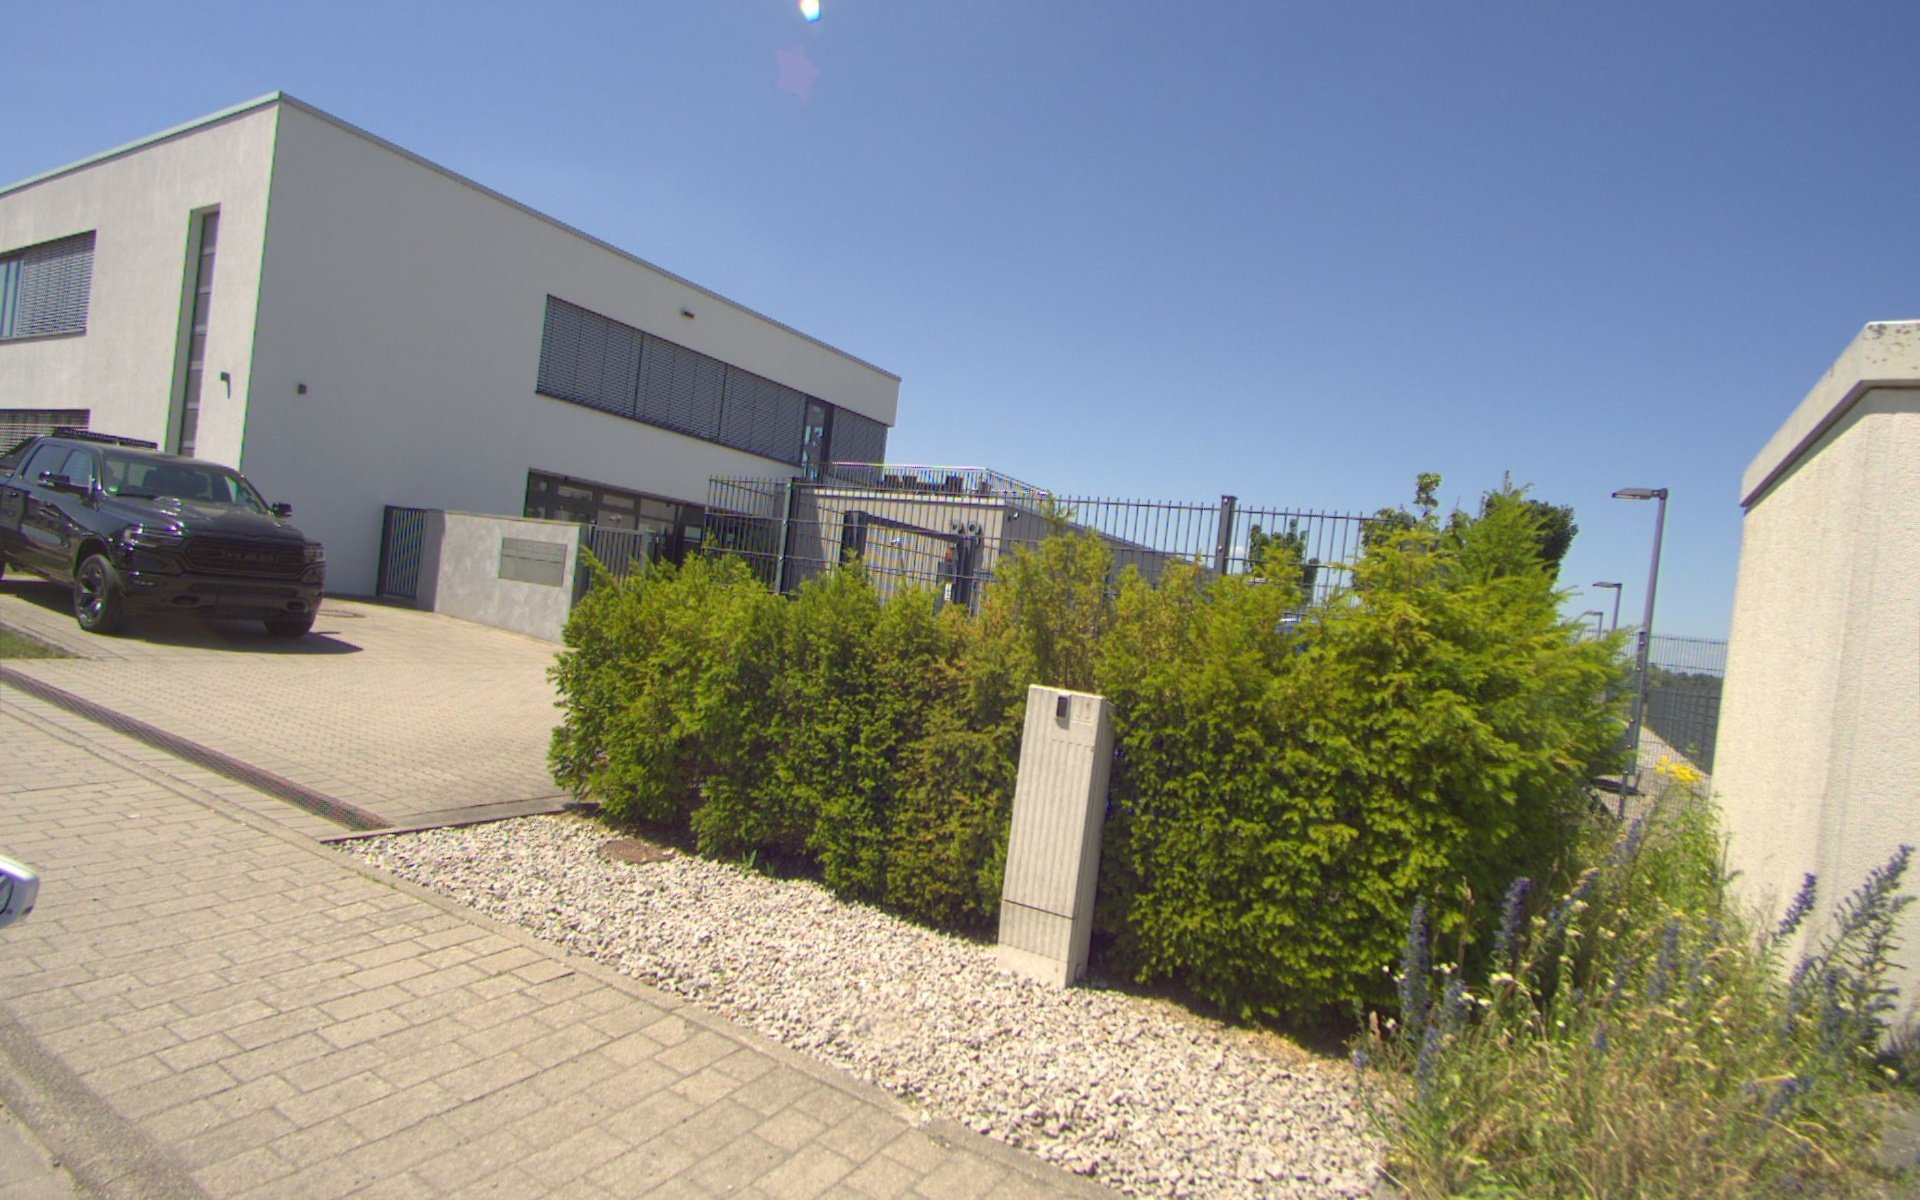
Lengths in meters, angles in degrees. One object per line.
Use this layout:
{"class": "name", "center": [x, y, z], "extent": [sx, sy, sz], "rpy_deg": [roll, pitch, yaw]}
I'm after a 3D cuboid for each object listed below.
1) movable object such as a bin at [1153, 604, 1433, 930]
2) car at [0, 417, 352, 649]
{"class": "movable object such as a bin", "center": [2.018, 0.890, 5.984], "extent": [1.150, 1.542, 1.384], "rpy_deg": [7, 1, 31]}
{"class": "car", "center": [-9.984, -0.913, 12.080], "extent": [5.701, 2.039, 1.996], "rpy_deg": [10, 2, 30]}
